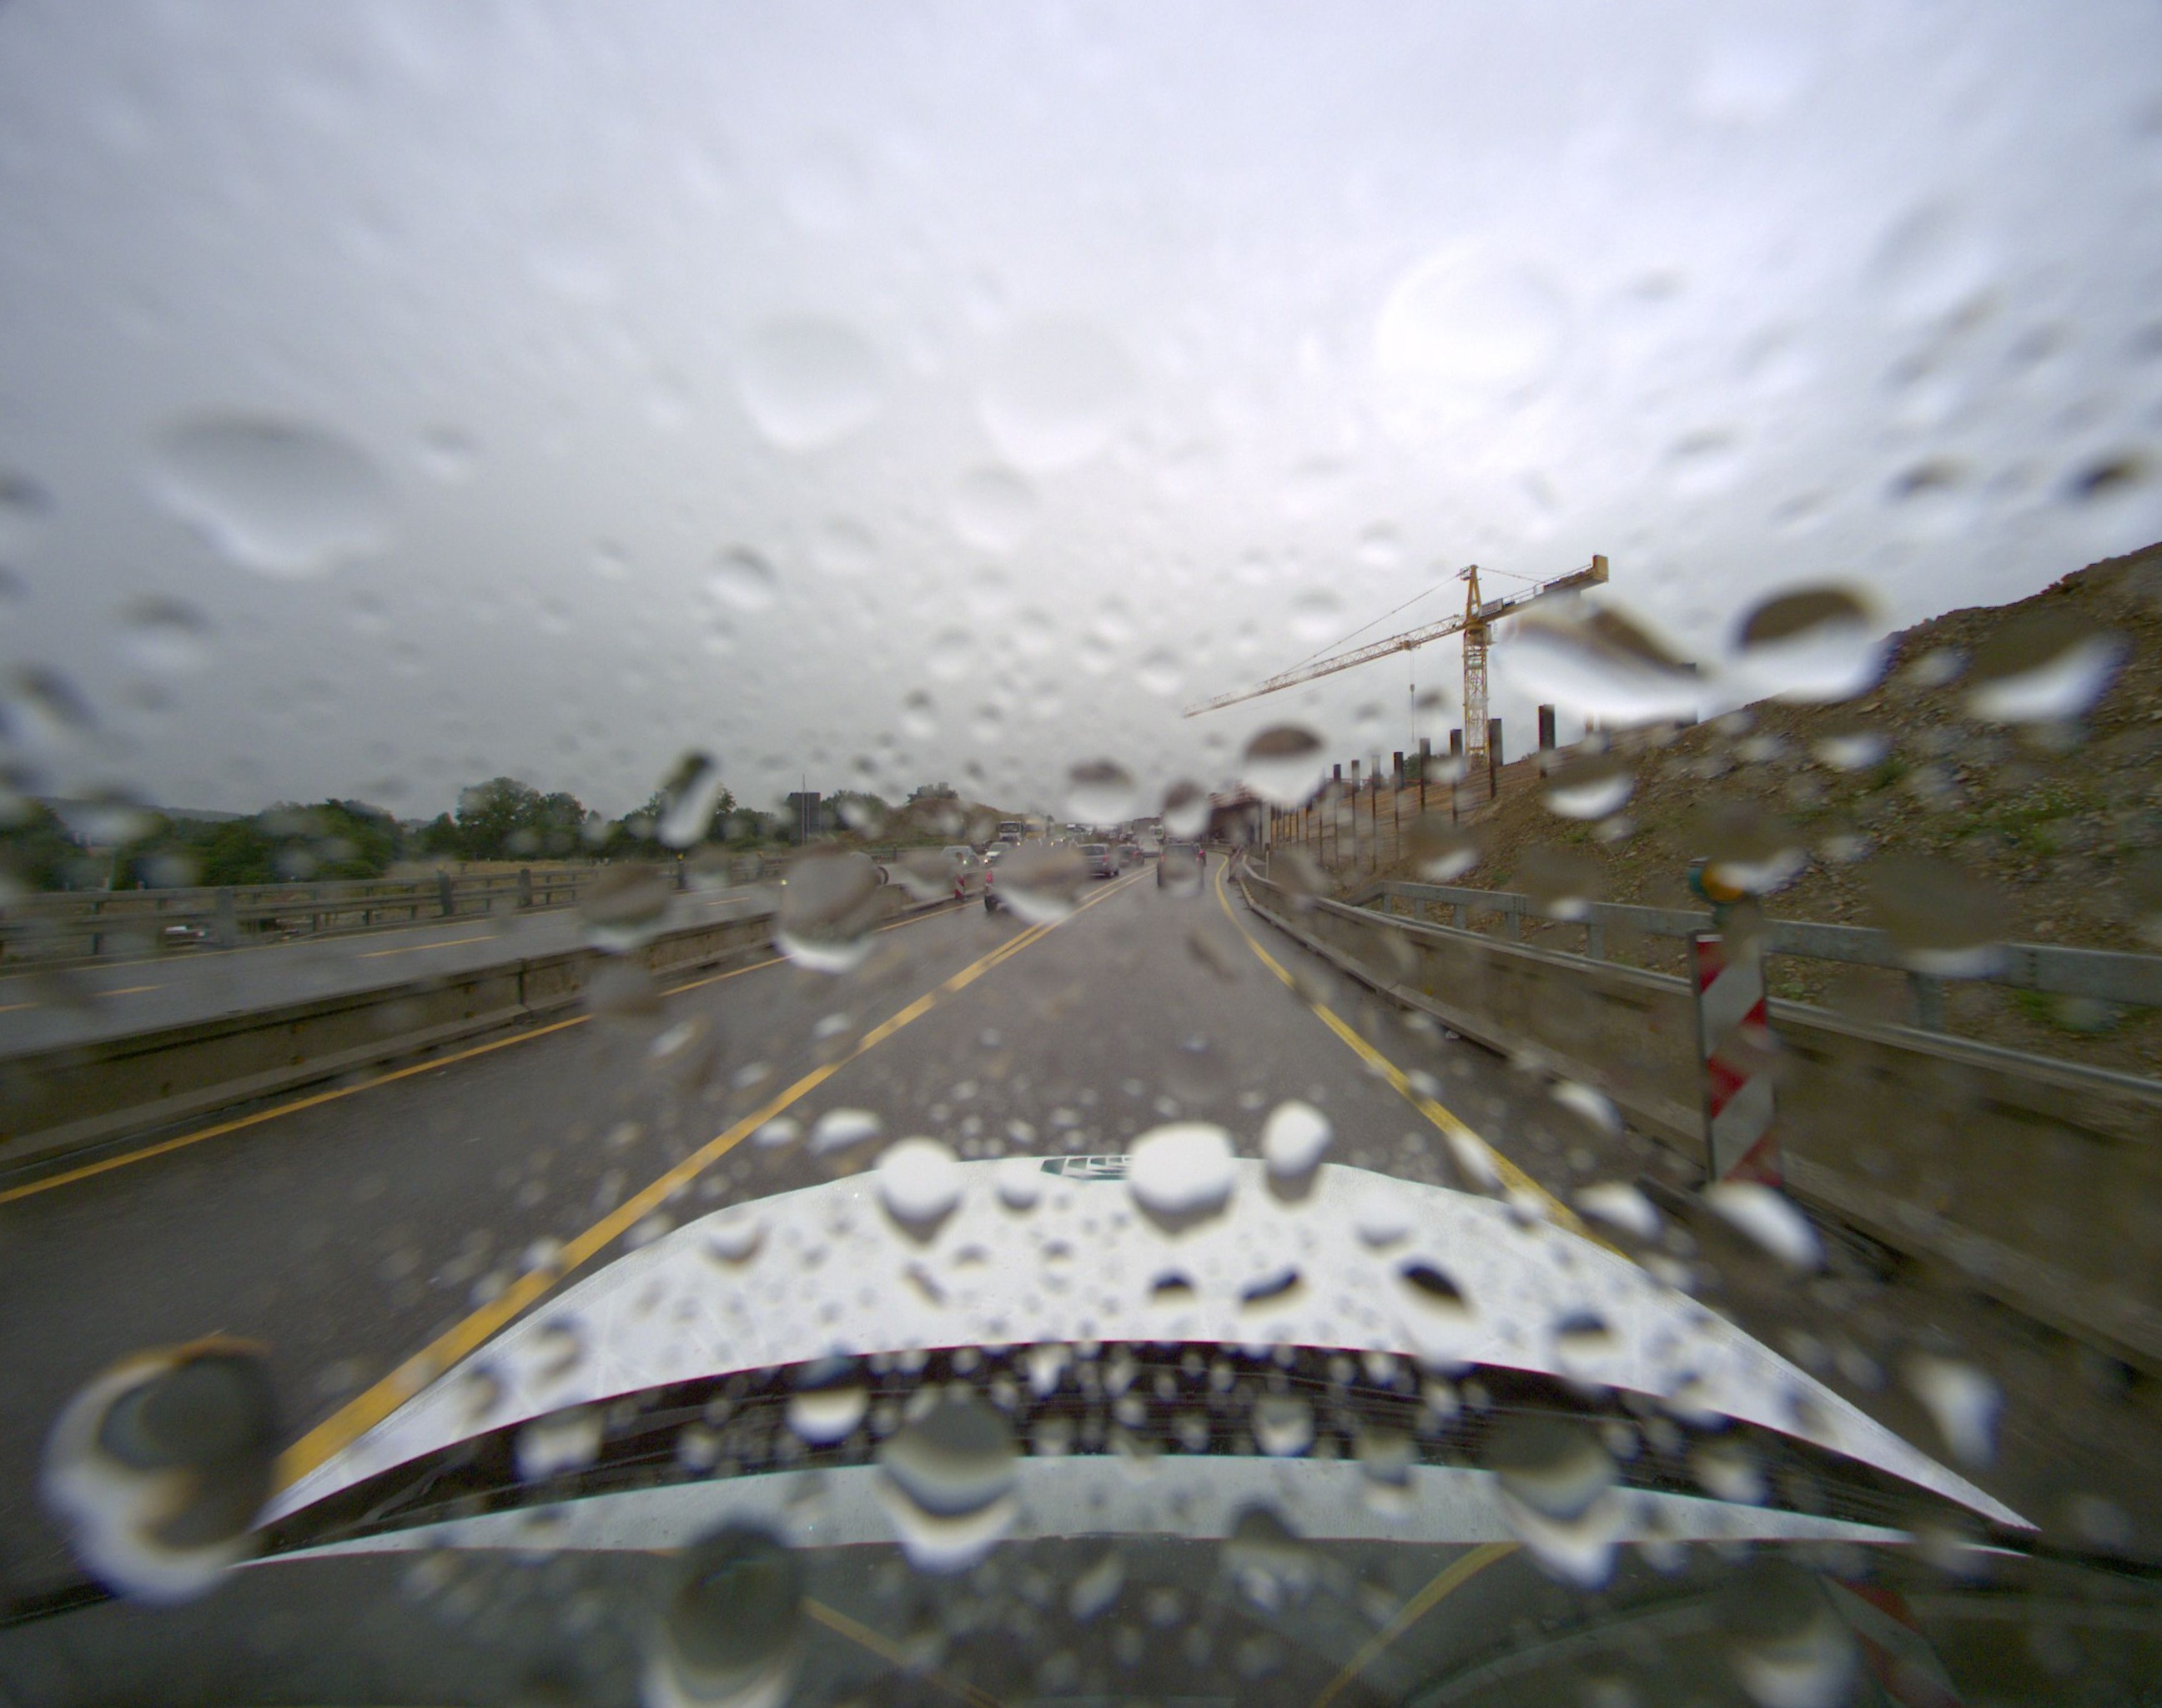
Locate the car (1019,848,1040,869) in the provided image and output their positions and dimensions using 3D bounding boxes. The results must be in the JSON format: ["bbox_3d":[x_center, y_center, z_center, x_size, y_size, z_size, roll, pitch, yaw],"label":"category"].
[{"bbox_3d":[-4.906,0.449,77.523,1.617,1.810,3.637,-1,-3,1],"label":"car"}]

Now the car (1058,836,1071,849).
[{"bbox_3d":[-3.124,-2.174,153.851,2.209,2.370,4.665,-1,-1,1],"label":"car"}]

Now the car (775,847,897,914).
[{"bbox_3d":[-6.826,0.670,23.382,1.731,1.684,5.552,0,0,1],"label":"car"}]

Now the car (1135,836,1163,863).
[{"bbox_3d":[5.632,-0.346,68.037,1.987,2.014,3.892,-1,-3,0],"label":"car"}]

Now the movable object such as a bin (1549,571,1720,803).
[{"bbox_3d":[31.589,-8.943,47.388,4.684,10.844,10.342,-2,-3,15],"label":"movable object such as a bin"}]

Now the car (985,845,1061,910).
[{"bbox_3d":[-1.501,0.659,22.599,1.810,1.600,4.306,-1,-2,-1],"label":"car"}]

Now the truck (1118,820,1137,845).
[{"bbox_3d":[11.133,-5.147,196.364,3.792,5.043,12.916,-1,-2,0],"label":"truck"}]

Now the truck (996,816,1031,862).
[{"bbox_3d":[-7.602,-1.555,92.666,3.072,4.920,8.566,-1,-1,1],"label":"truck"}]

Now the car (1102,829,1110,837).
[{"bbox_3d":[7.227,-6.137,235.570,1.987,2.014,3.999,-2,-1,0],"label":"car"}]

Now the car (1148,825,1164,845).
[{"bbox_3d":[10.524,-2.653,114.748,1.985,2.485,4.984,-1,-2,2],"label":"car"}]

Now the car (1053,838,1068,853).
[{"bbox_3d":[-3.431,-1.421,137.968,2.230,2.359,4.878,-1,-1,1],"label":"car"}]

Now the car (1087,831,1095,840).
[{"bbox_3d":[2.732,-4.847,214.810,1.987,2.014,3.998,-1,-3,0],"label":"car"}]

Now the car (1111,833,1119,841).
[{"bbox_3d":[10.055,-4.998,240.250,1.987,2.014,3.998,-1,-3,0],"label":"car"}]

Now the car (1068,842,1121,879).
[{"bbox_3d":[0.716,0.353,39.448,1.982,1.601,4.150,-1,-3,9],"label":"car"}]

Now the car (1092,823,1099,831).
[{"bbox_3d":[4.146,-7.519,228.897,1.987,2.014,3.998,-1,-3,0],"label":"car"}]

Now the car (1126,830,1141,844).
[{"bbox_3d":[7.736,-2.487,120.165,1.987,1.761,3.814,-1,-2,1],"label":"car"}]

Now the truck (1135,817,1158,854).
[{"bbox_3d":[10.920,-2.967,134.809,3.084,5.427,9.462,-1,-3,8],"label":"truck"}]

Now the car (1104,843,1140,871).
[{"bbox_3d":[2.576,0.239,52.127,1.988,1.601,4.138,-1,-2,-1],"label":"car"}]

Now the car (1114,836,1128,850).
[{"bbox_3d":[6.733,-1.811,136.445,1.984,2.163,4.146,-1,-3,5],"label":"car"}]

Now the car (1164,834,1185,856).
[{"bbox_3d":[10.335,-0.992,90.657,1.986,2.163,4.142,-1,-3,2],"label":"car"}]

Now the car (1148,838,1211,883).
[{"bbox_3d":[3.865,0.325,32.498,2.074,1.601,4.140,-1,-2,1],"label":"car"}]

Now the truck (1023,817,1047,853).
[{"bbox_3d":[-7.264,-2.966,129.392,3.130,5.418,8.525,-1,-1,1],"label":"truck"}]

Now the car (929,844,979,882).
[{"bbox_3d":[-6.554,0.538,42.428,1.779,1.810,4.498,-1,-2,1],"label":"car"}]

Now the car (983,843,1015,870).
[{"bbox_3d":[-5.962,0.219,59.524,1.779,1.810,4.498,-1,-2,1],"label":"car"}]

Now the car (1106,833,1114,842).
[{"bbox_3d":[7.440,-4.226,209.264,1.987,2.014,3.999,-2,-1,0],"label":"car"}]

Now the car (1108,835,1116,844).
[{"bbox_3d":[7.109,-3.390,188.785,1.843,1.894,4.021,-1,-2,1],"label":"car"}]
